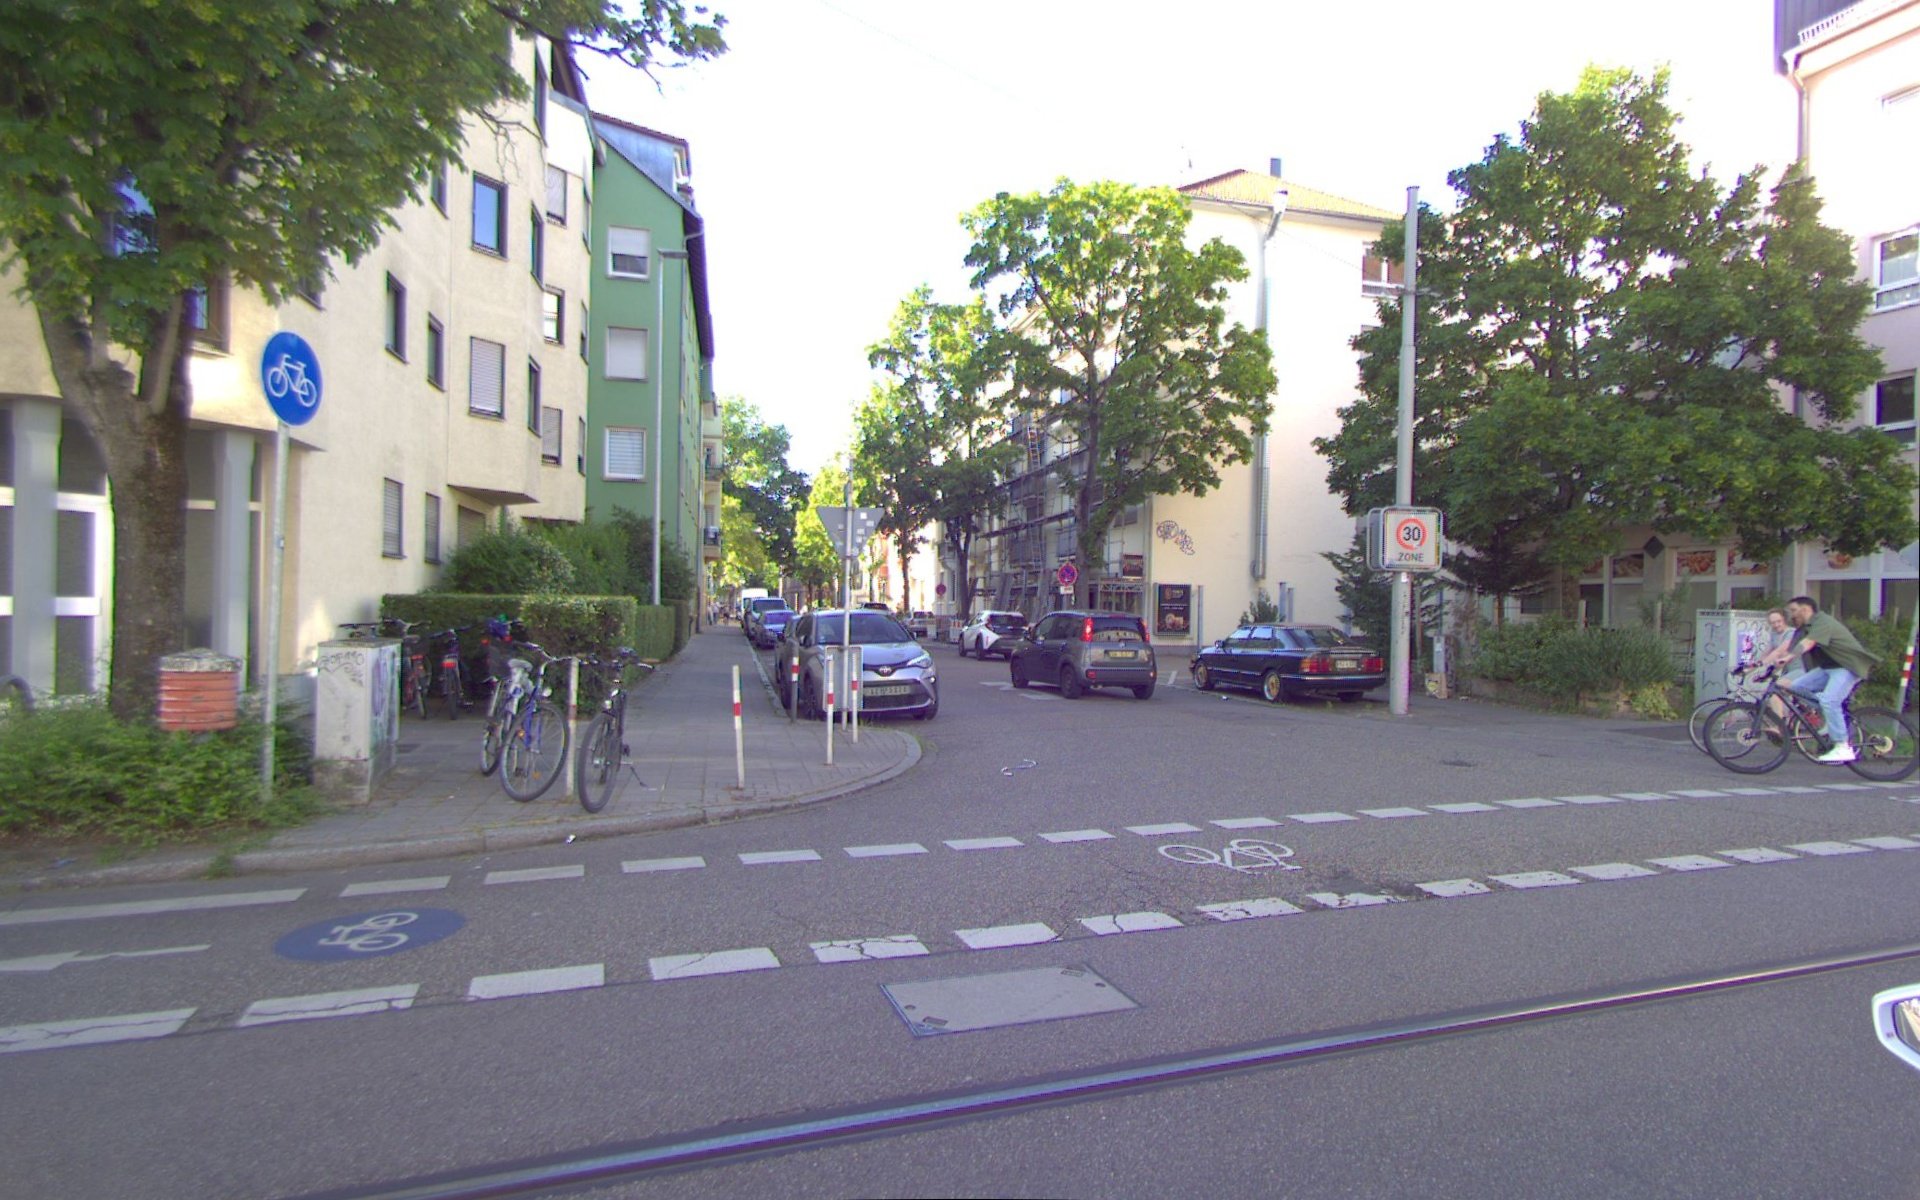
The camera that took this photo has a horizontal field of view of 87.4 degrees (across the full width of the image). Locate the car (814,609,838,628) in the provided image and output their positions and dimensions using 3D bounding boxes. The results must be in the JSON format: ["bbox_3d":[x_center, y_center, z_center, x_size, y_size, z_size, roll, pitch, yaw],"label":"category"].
[{"bbox_3d":[-12.068,1.653,90.448,1.663,1.625,3.988,0,0,-14],"label":"car"}]

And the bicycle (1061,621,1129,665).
[{"bbox_3d":[3.976,1.244,29.603,1.963,1.181,0.720,-2,1,-31],"label":"bicycle"}]

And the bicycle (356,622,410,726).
[{"bbox_3d":[-6.594,0.811,11.503,0.327,1.060,1.386,1,1,-22],"label":"bicycle"}]

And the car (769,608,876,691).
[{"bbox_3d":[-2.953,0.940,20.854,1.728,1.517,4.123,-1,0,-14],"label":"car"}]

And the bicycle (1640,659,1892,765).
[{"bbox_3d":[9.306,1.283,11.666,2.188,1.164,0.842,0,-4,0],"label":"bicycle"}]

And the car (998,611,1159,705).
[{"bbox_3d":[2.075,1.009,18.451,1.538,1.553,3.471,2,-1,-20],"label":"car"}]

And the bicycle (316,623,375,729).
[{"bbox_3d":[-6.922,0.822,11.354,0.327,1.060,1.386,1,1,-22],"label":"bicycle"}]

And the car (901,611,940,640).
[{"bbox_3d":[-2.224,1.380,55.857,1.534,1.428,3.373,4,-1,-11],"label":"car"}]

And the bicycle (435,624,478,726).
[{"bbox_3d":[-5.879,0.847,11.758,0.327,1.060,1.386,1,1,-22],"label":"bicycle"}]

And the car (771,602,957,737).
[{"bbox_3d":[-1.565,0.895,14.843,1.879,1.682,3.983,-1,0,-19],"label":"car"}]

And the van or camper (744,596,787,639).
[{"bbox_3d":[-9.796,0.860,50.352,1.965,2.040,4.900,0,0,-12],"label":"van or camper"}]

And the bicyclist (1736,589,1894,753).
[{"bbox_3d":[8.689,0.717,10.260,0.850,1.581,0.885,-1,-3,11],"label":"bicyclist"}]

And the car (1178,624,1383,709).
[{"bbox_3d":[5.877,1.217,19.062,1.684,1.406,4.561,2,-3,-12],"label":"car"}]

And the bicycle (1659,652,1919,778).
[{"bbox_3d":[8.573,1.140,10.259,2.187,1.164,0.842,0,-2,12],"label":"bicycle"}]

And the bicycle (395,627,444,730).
[{"bbox_3d":[-6.246,0.876,11.630,0.327,1.060,1.386,1,1,-22],"label":"bicycle"}]

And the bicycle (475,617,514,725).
[{"bbox_3d":[-5.517,0.806,11.929,0.327,1.159,1.386,1,1,-22],"label":"bicycle"}]

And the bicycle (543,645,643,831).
[{"bbox_3d":[-2.618,0.913,7.297,0.586,1.099,1.876,1,-1,-18],"label":"bicycle"}]

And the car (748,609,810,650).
[{"bbox_3d":[-7.074,1.108,38.926,1.953,1.475,4.100,0,0,-16],"label":"car"}]

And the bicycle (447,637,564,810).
[{"bbox_3d":[-3.403,0.858,7.641,0.586,1.099,1.805,1,-1,-18],"label":"bicycle"}]

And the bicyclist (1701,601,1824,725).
[{"bbox_3d":[9.368,0.743,11.751,0.851,1.398,0.625,0,-4,0],"label":"bicyclist"}]

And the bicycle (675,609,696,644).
[{"bbox_3d":[-9.946,0.952,36.471,0.543,1.193,2.273,4,-1,-12],"label":"bicycle"}]

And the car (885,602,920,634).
[{"bbox_3d":[-3.449,1.023,59.759,1.534,1.749,3.373,4,-1,-11],"label":"car"}]
